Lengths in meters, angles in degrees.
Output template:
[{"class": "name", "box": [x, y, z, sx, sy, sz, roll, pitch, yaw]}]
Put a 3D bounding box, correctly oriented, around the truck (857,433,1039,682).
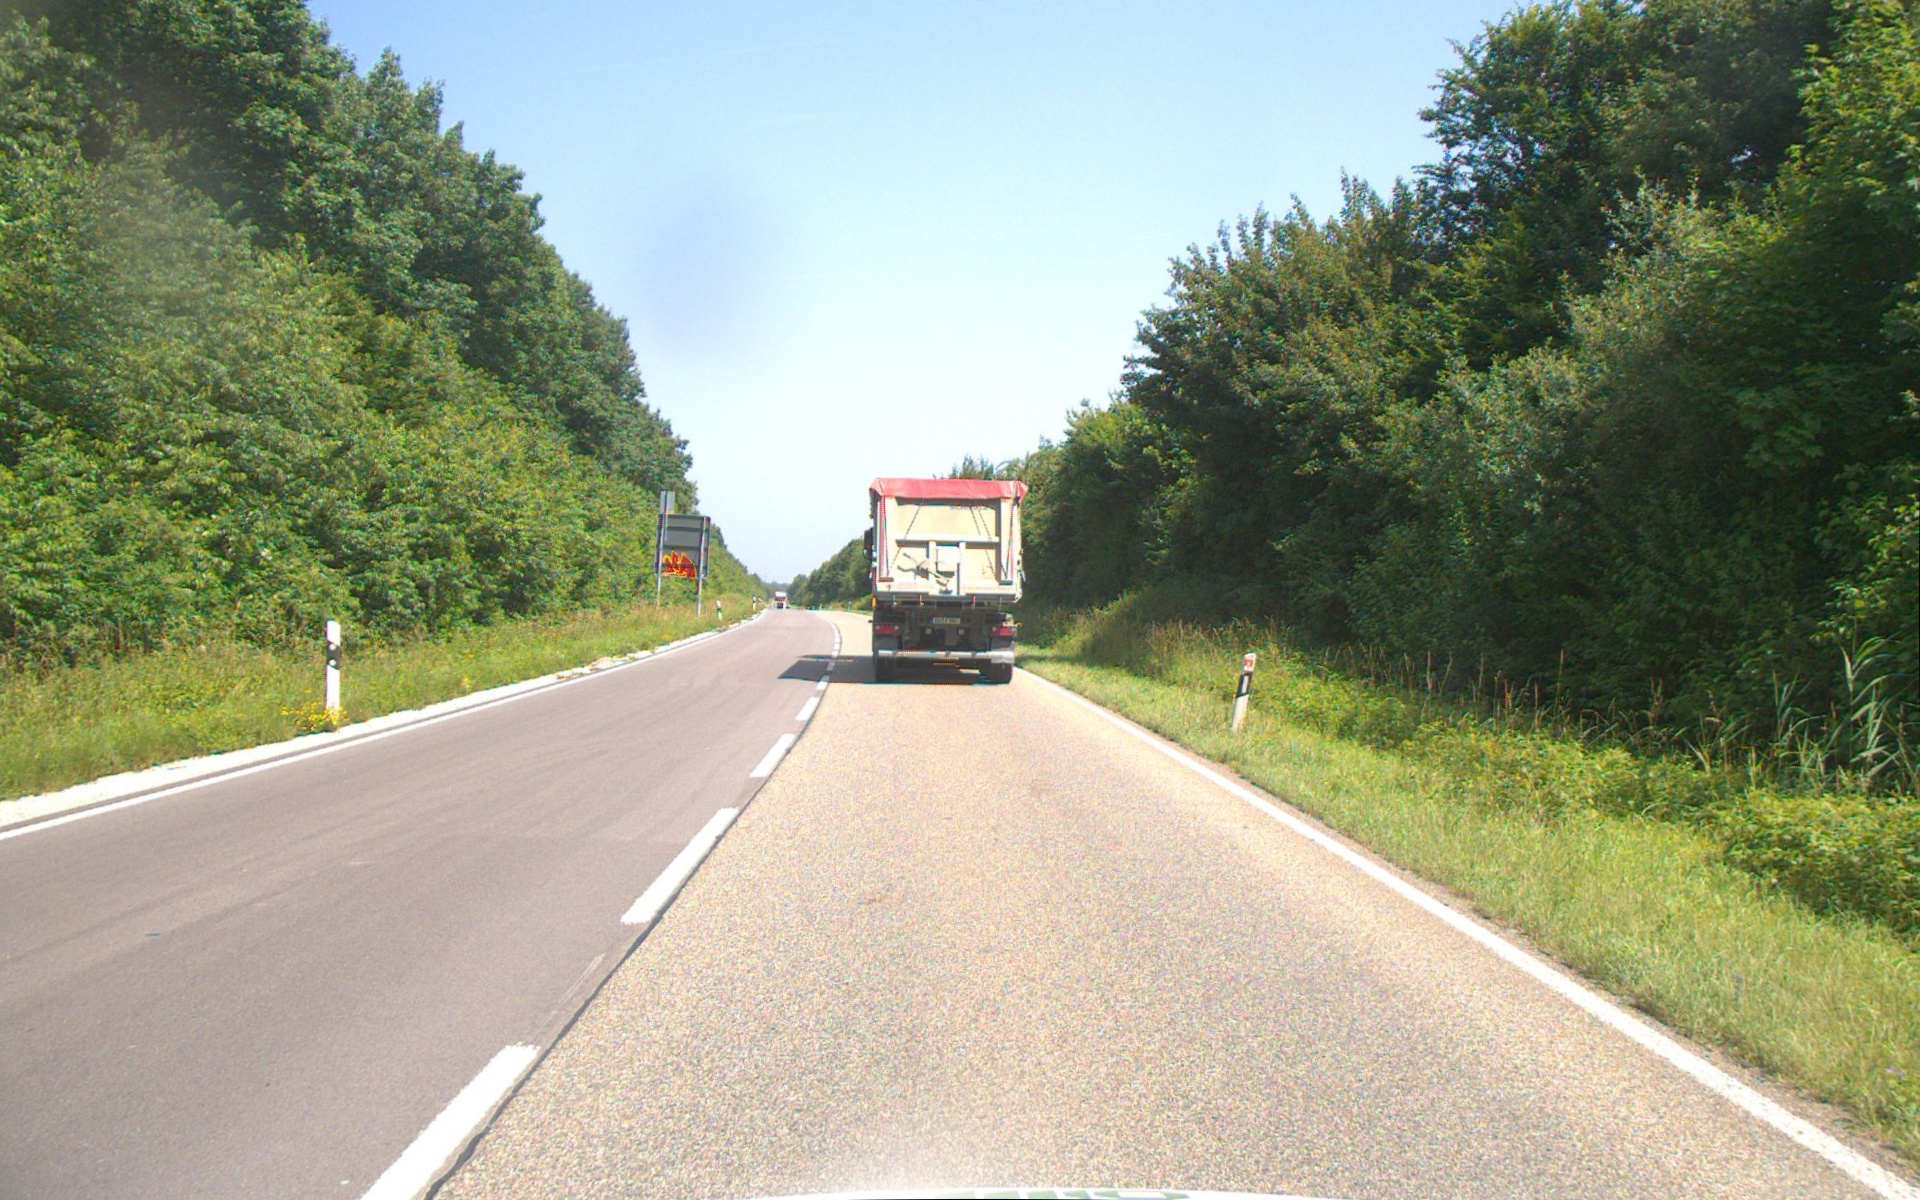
[{"class": "truck", "box": [-0.561, -0.725, 33.122, 2.836, 4.031, 11.923, 1, 0, -4]}]
